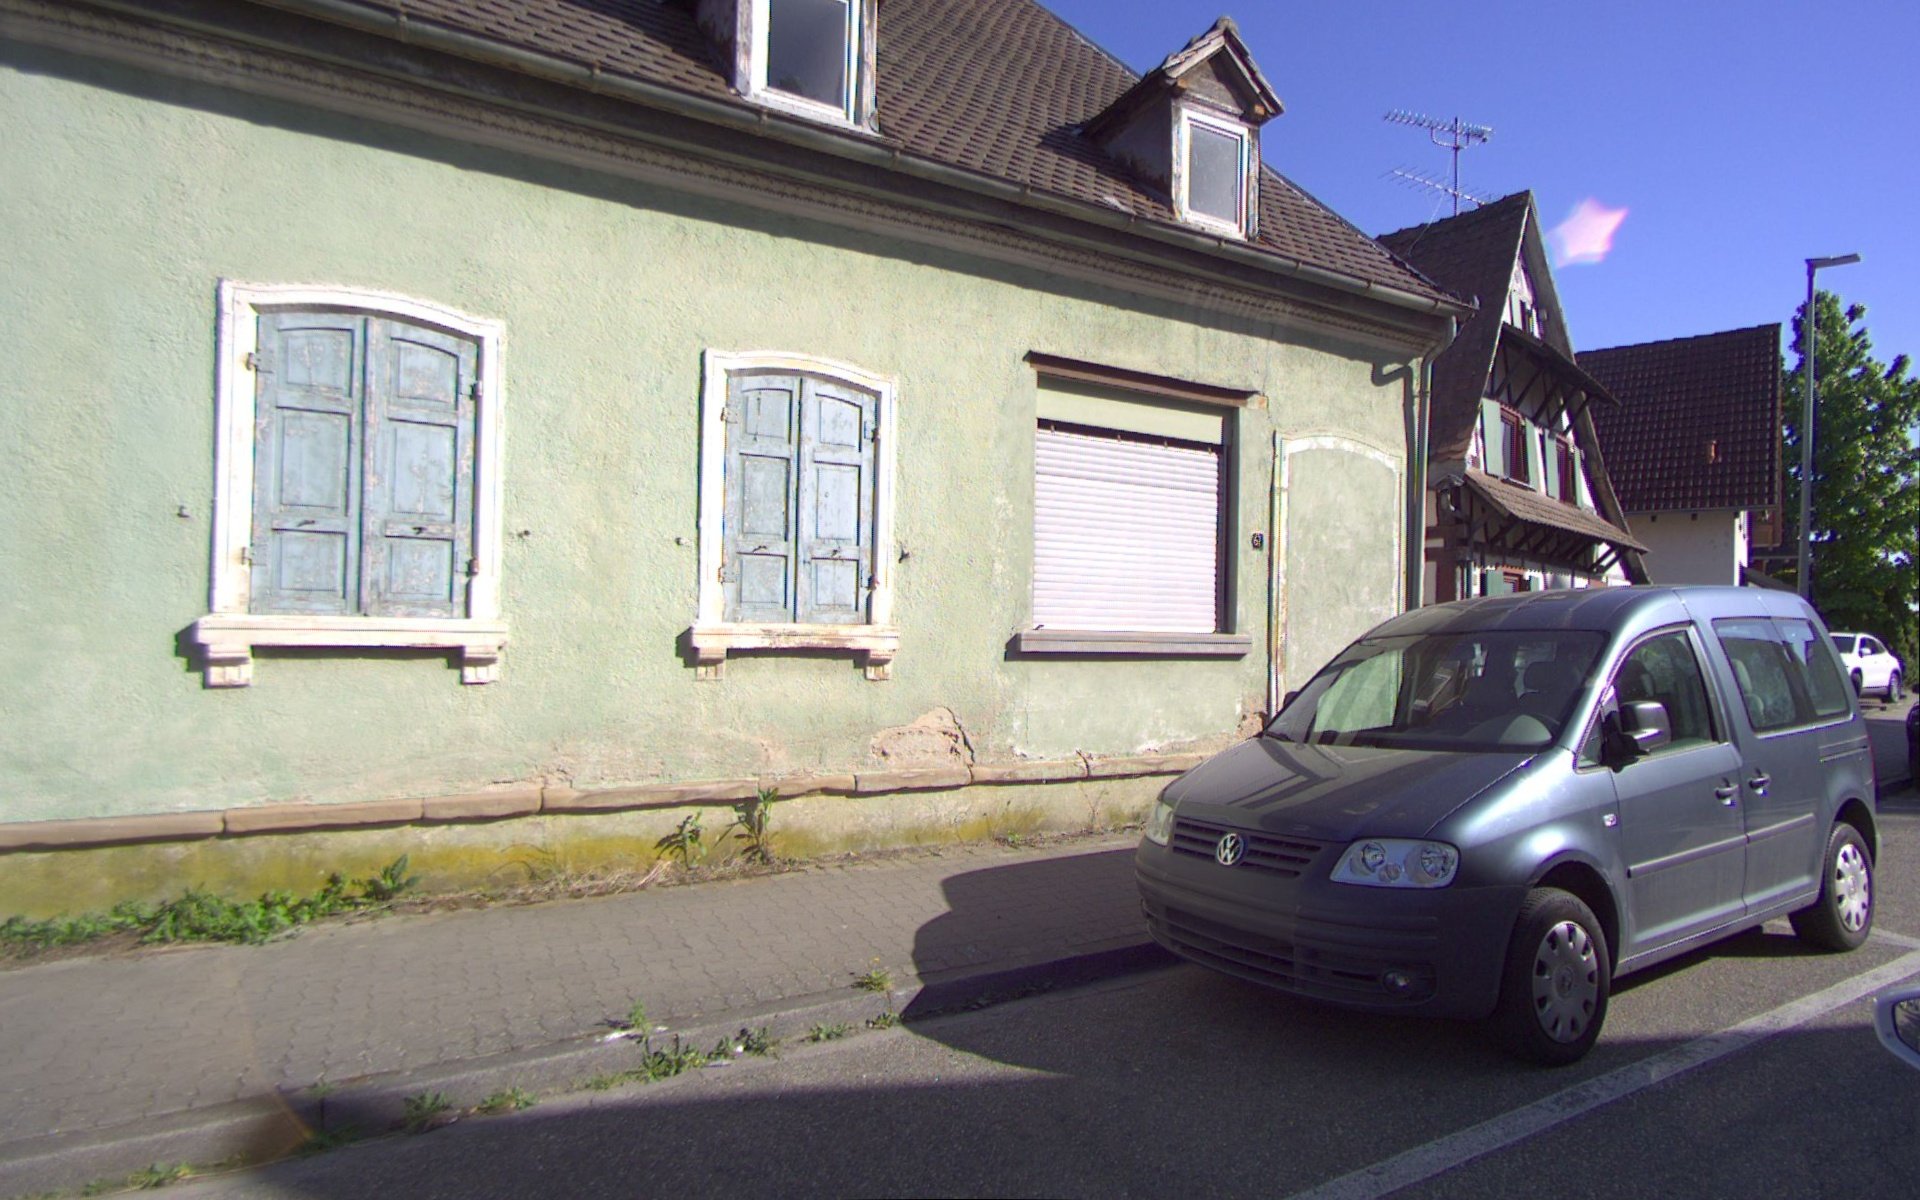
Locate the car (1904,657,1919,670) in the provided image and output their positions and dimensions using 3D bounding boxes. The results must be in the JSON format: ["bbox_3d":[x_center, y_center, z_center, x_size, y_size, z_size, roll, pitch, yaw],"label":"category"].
[{"bbox_3d":[113.002,7.551,119.071,1.571,1.461,3.593,1,-2,44],"label":"car"}]

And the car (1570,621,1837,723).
[{"bbox_3d":[14.259,1.295,19.430,3.938,1.610,1.991,2,0,39],"label":"car"}]

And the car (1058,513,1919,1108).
[{"bbox_3d":[2.766,0.734,4.996,4.303,1.813,1.824,1,-4,-31],"label":"car"}]

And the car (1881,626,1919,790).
[{"bbox_3d":[12.009,1.150,11.189,4.313,1.692,1.819,2,-4,-38],"label":"car"}]

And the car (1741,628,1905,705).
[{"bbox_3d":[20.350,1.542,23.636,4.399,1.617,1.806,3,-1,-34],"label":"car"}]
